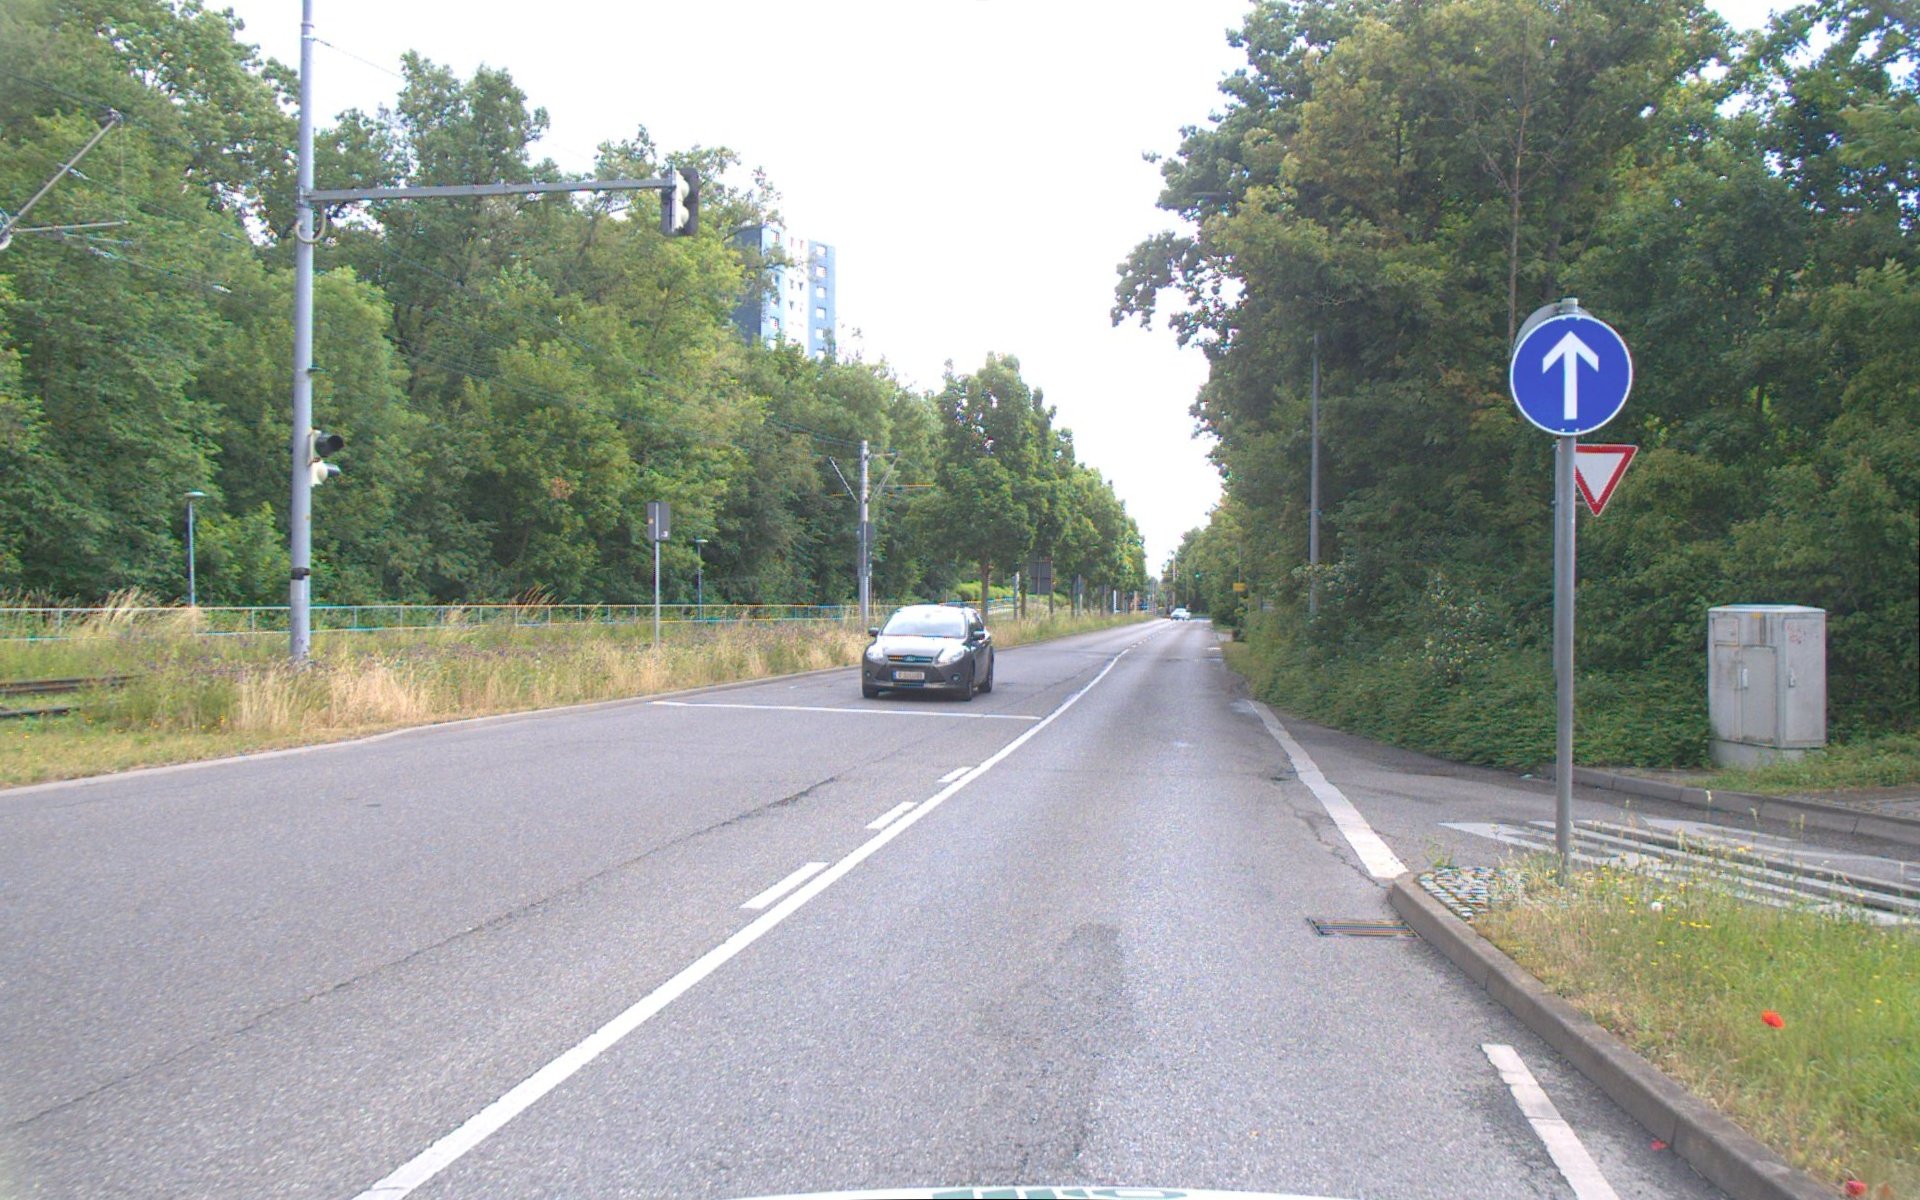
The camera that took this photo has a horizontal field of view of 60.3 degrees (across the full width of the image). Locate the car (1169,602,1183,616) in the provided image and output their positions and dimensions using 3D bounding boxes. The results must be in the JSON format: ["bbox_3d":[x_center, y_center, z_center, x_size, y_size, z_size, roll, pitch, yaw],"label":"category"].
[{"bbox_3d":[27.506,1.155,210.805,1.679,1.658,4.003,-3,-1,8],"label":"car"}]

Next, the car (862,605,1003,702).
[{"bbox_3d":[-0.373,0.826,27.580,1.718,1.460,4.432,1,0,7],"label":"car"}]
